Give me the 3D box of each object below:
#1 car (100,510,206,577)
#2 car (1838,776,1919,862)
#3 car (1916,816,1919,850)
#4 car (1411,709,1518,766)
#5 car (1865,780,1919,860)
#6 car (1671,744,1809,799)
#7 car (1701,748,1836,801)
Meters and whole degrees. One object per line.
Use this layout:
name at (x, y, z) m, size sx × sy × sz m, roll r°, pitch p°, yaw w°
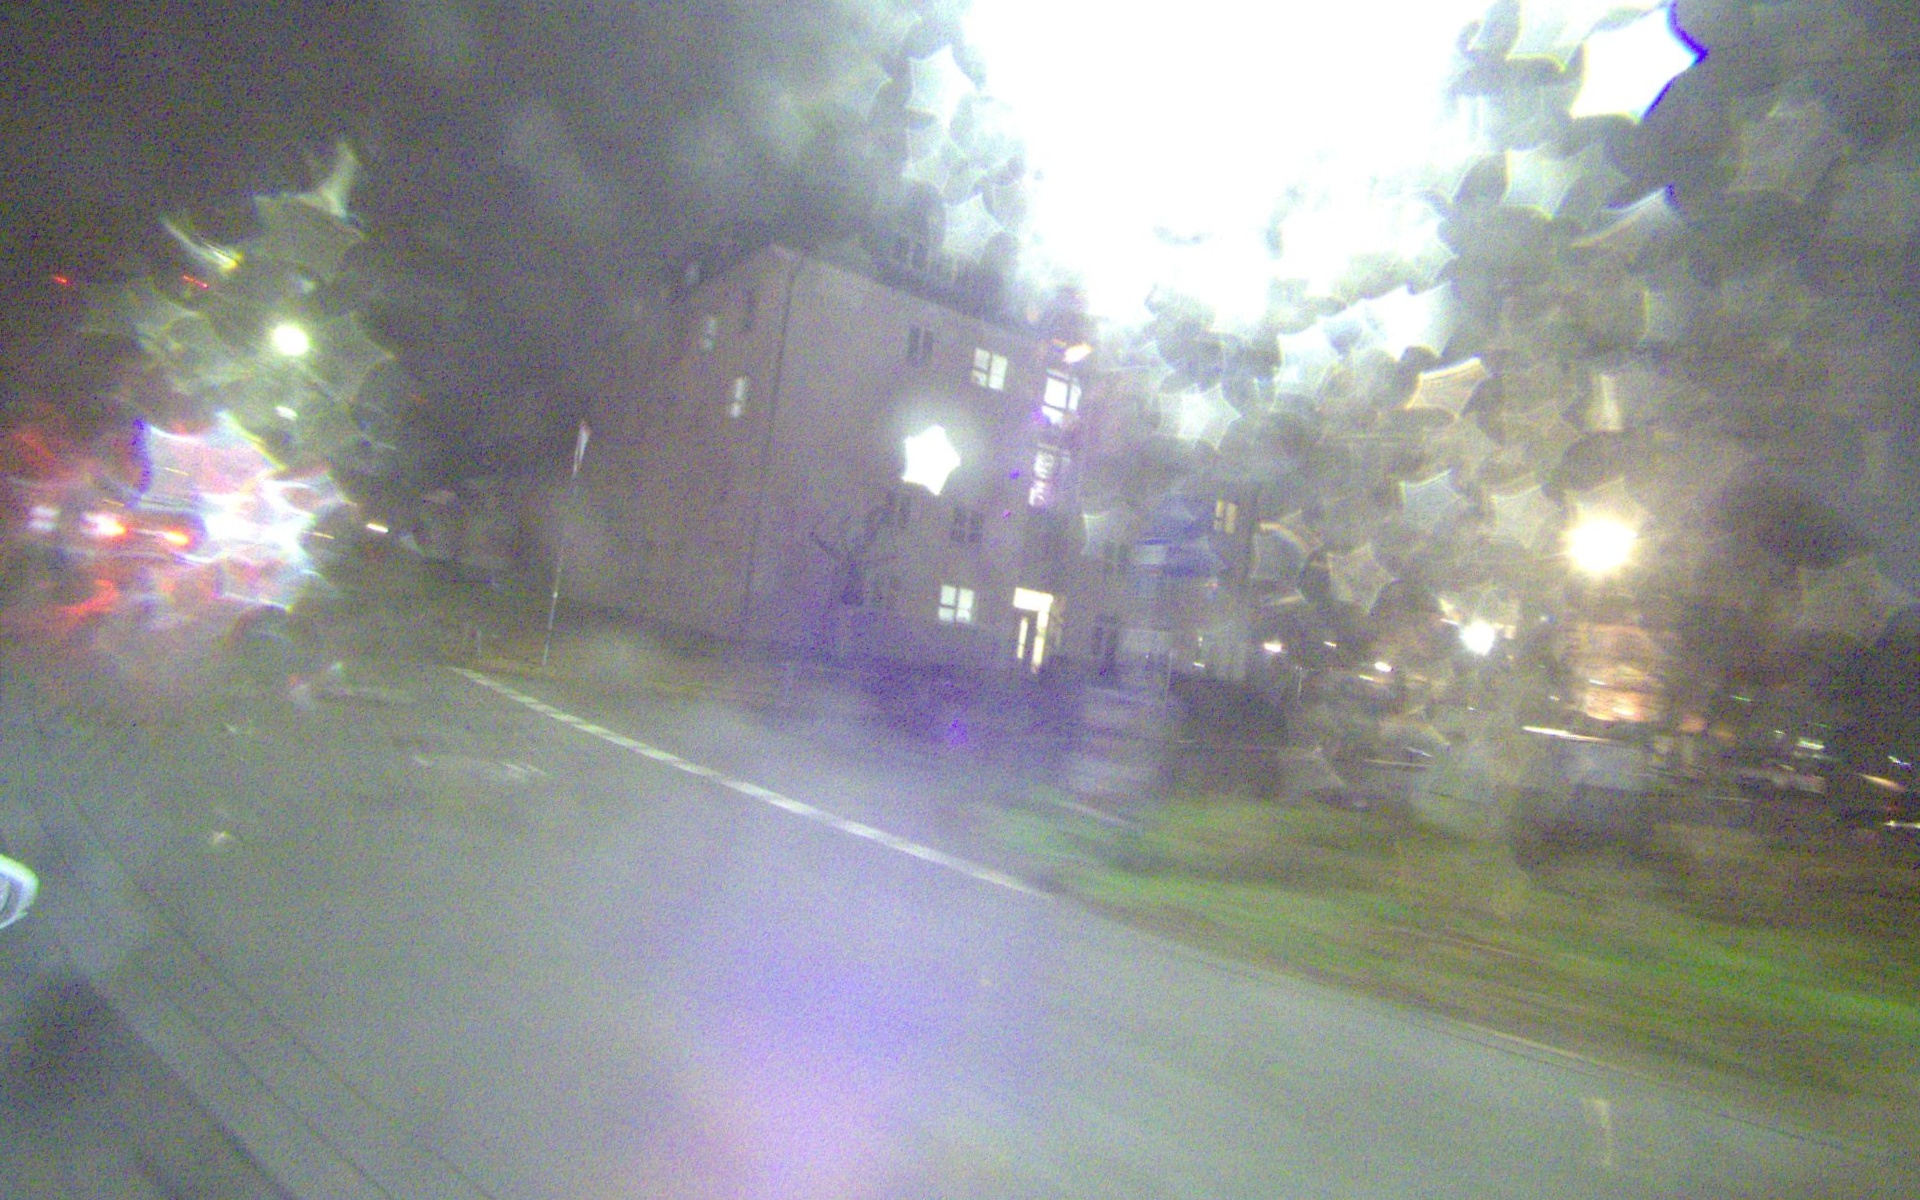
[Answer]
car at (-26.494, -1.816, 33.185) m, size 1.983 × 1.701 × 3.968 m, roll 12°, pitch -4°, yaw -31°
car at (20.059, 4.597, 19.707) m, size 1.474 × 1.464 × 3.984 m, roll 9°, pitch -2°, yaw -34°
car at (26.278, 5.786, 24.283) m, size 1.978 × 1.538 × 4.156 m, roll 8°, pitch -2°, yaw -29°
car at (23.823, 6.488, 47.543) m, size 3.947 × 2.037 × 1.991 m, roll 6°, pitch -2°, yaw 43°
car at (22.149, 5.036, 21.481) m, size 1.477 × 1.585 × 3.846 m, roll 9°, pitch -2°, yaw -34°
car at (33.296, 7.305, 43.037) m, size 1.982 × 1.516 × 4.149 m, roll 8°, pitch -2°, yaw -33°
car at (35.500, 7.647, 44.284) m, size 1.982 × 1.516 × 4.149 m, roll 8°, pitch -2°, yaw -34°
